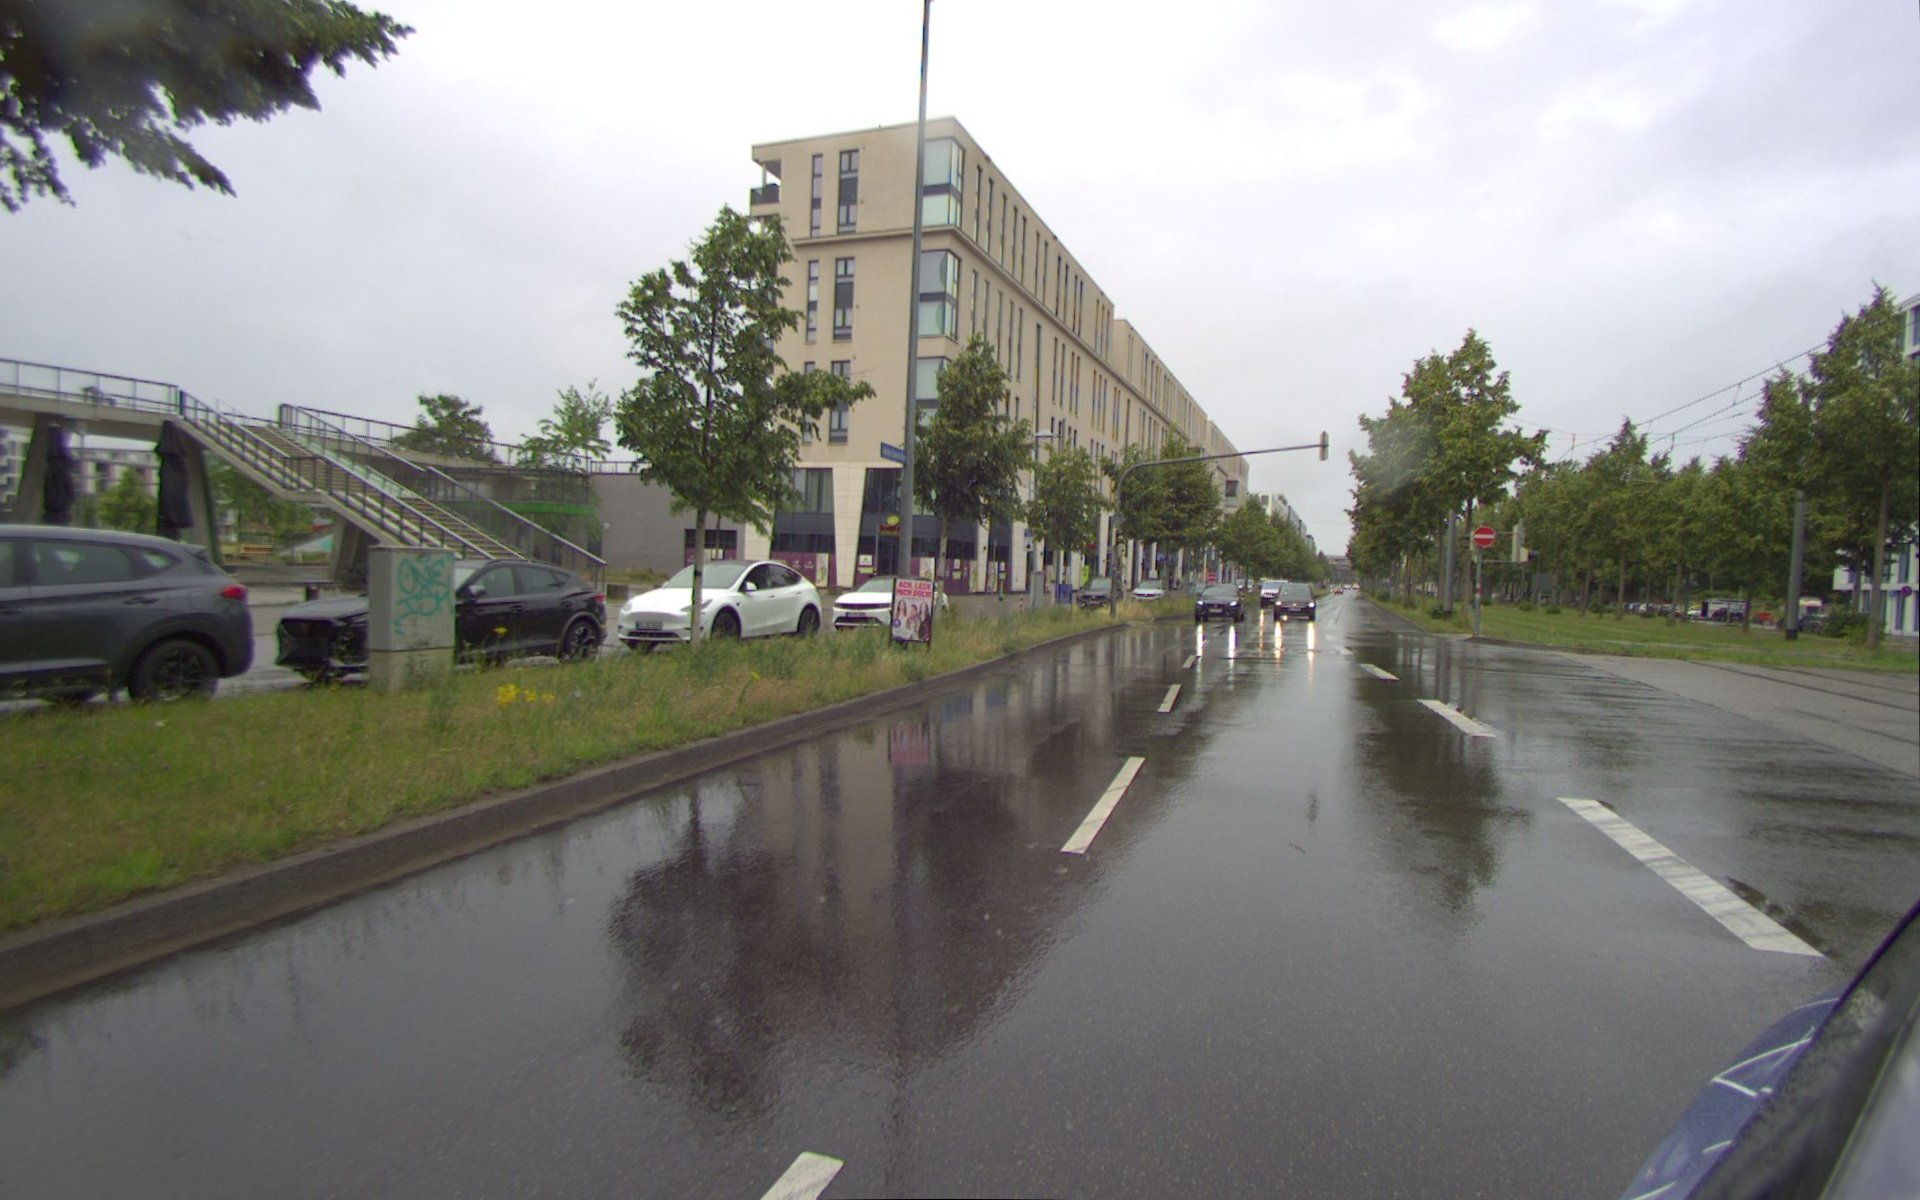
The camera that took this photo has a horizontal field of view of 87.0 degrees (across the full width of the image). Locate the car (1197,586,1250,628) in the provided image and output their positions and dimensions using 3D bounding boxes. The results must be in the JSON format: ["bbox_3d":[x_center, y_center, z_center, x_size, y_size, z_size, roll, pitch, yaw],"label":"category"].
[{"bbox_3d":[10.734,0.305,41.057,1.667,1.548,3.942,3,0,20],"label":"car"}]

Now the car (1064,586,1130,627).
[{"bbox_3d":[6.391,0.314,46.752,1.976,1.729,4.804,3,0,21],"label":"car"}]

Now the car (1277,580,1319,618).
[{"bbox_3d":[15.073,-0.001,45.047,1.638,1.548,3.750,3,0,20],"label":"car"}]

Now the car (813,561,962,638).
[{"bbox_3d":[-1.730,0.021,26.153,1.976,1.729,4.804,3,0,21],"label":"car"}]

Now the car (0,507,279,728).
[{"bbox_3d":[-8.377,0.091,8.329,1.976,1.729,4.187,3,0,21],"label":"car"}]

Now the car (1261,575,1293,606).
[{"bbox_3d":[22.054,-0.620,70.296,1.738,1.950,3.970,3,0,22],"label":"car"}]

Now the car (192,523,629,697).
[{"bbox_3d":[-6.588,0.116,12.862,1.976,1.729,4.690,3,0,21],"label":"car"}]

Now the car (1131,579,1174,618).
[{"bbox_3d":[10.952,-0.070,57.431,1.891,2.039,3.978,3,0,17],"label":"car"}]

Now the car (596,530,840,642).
[{"bbox_3d":[-4.233,-0.201,18.655,1.976,1.729,4.804,3,0,21],"label":"car"}]
